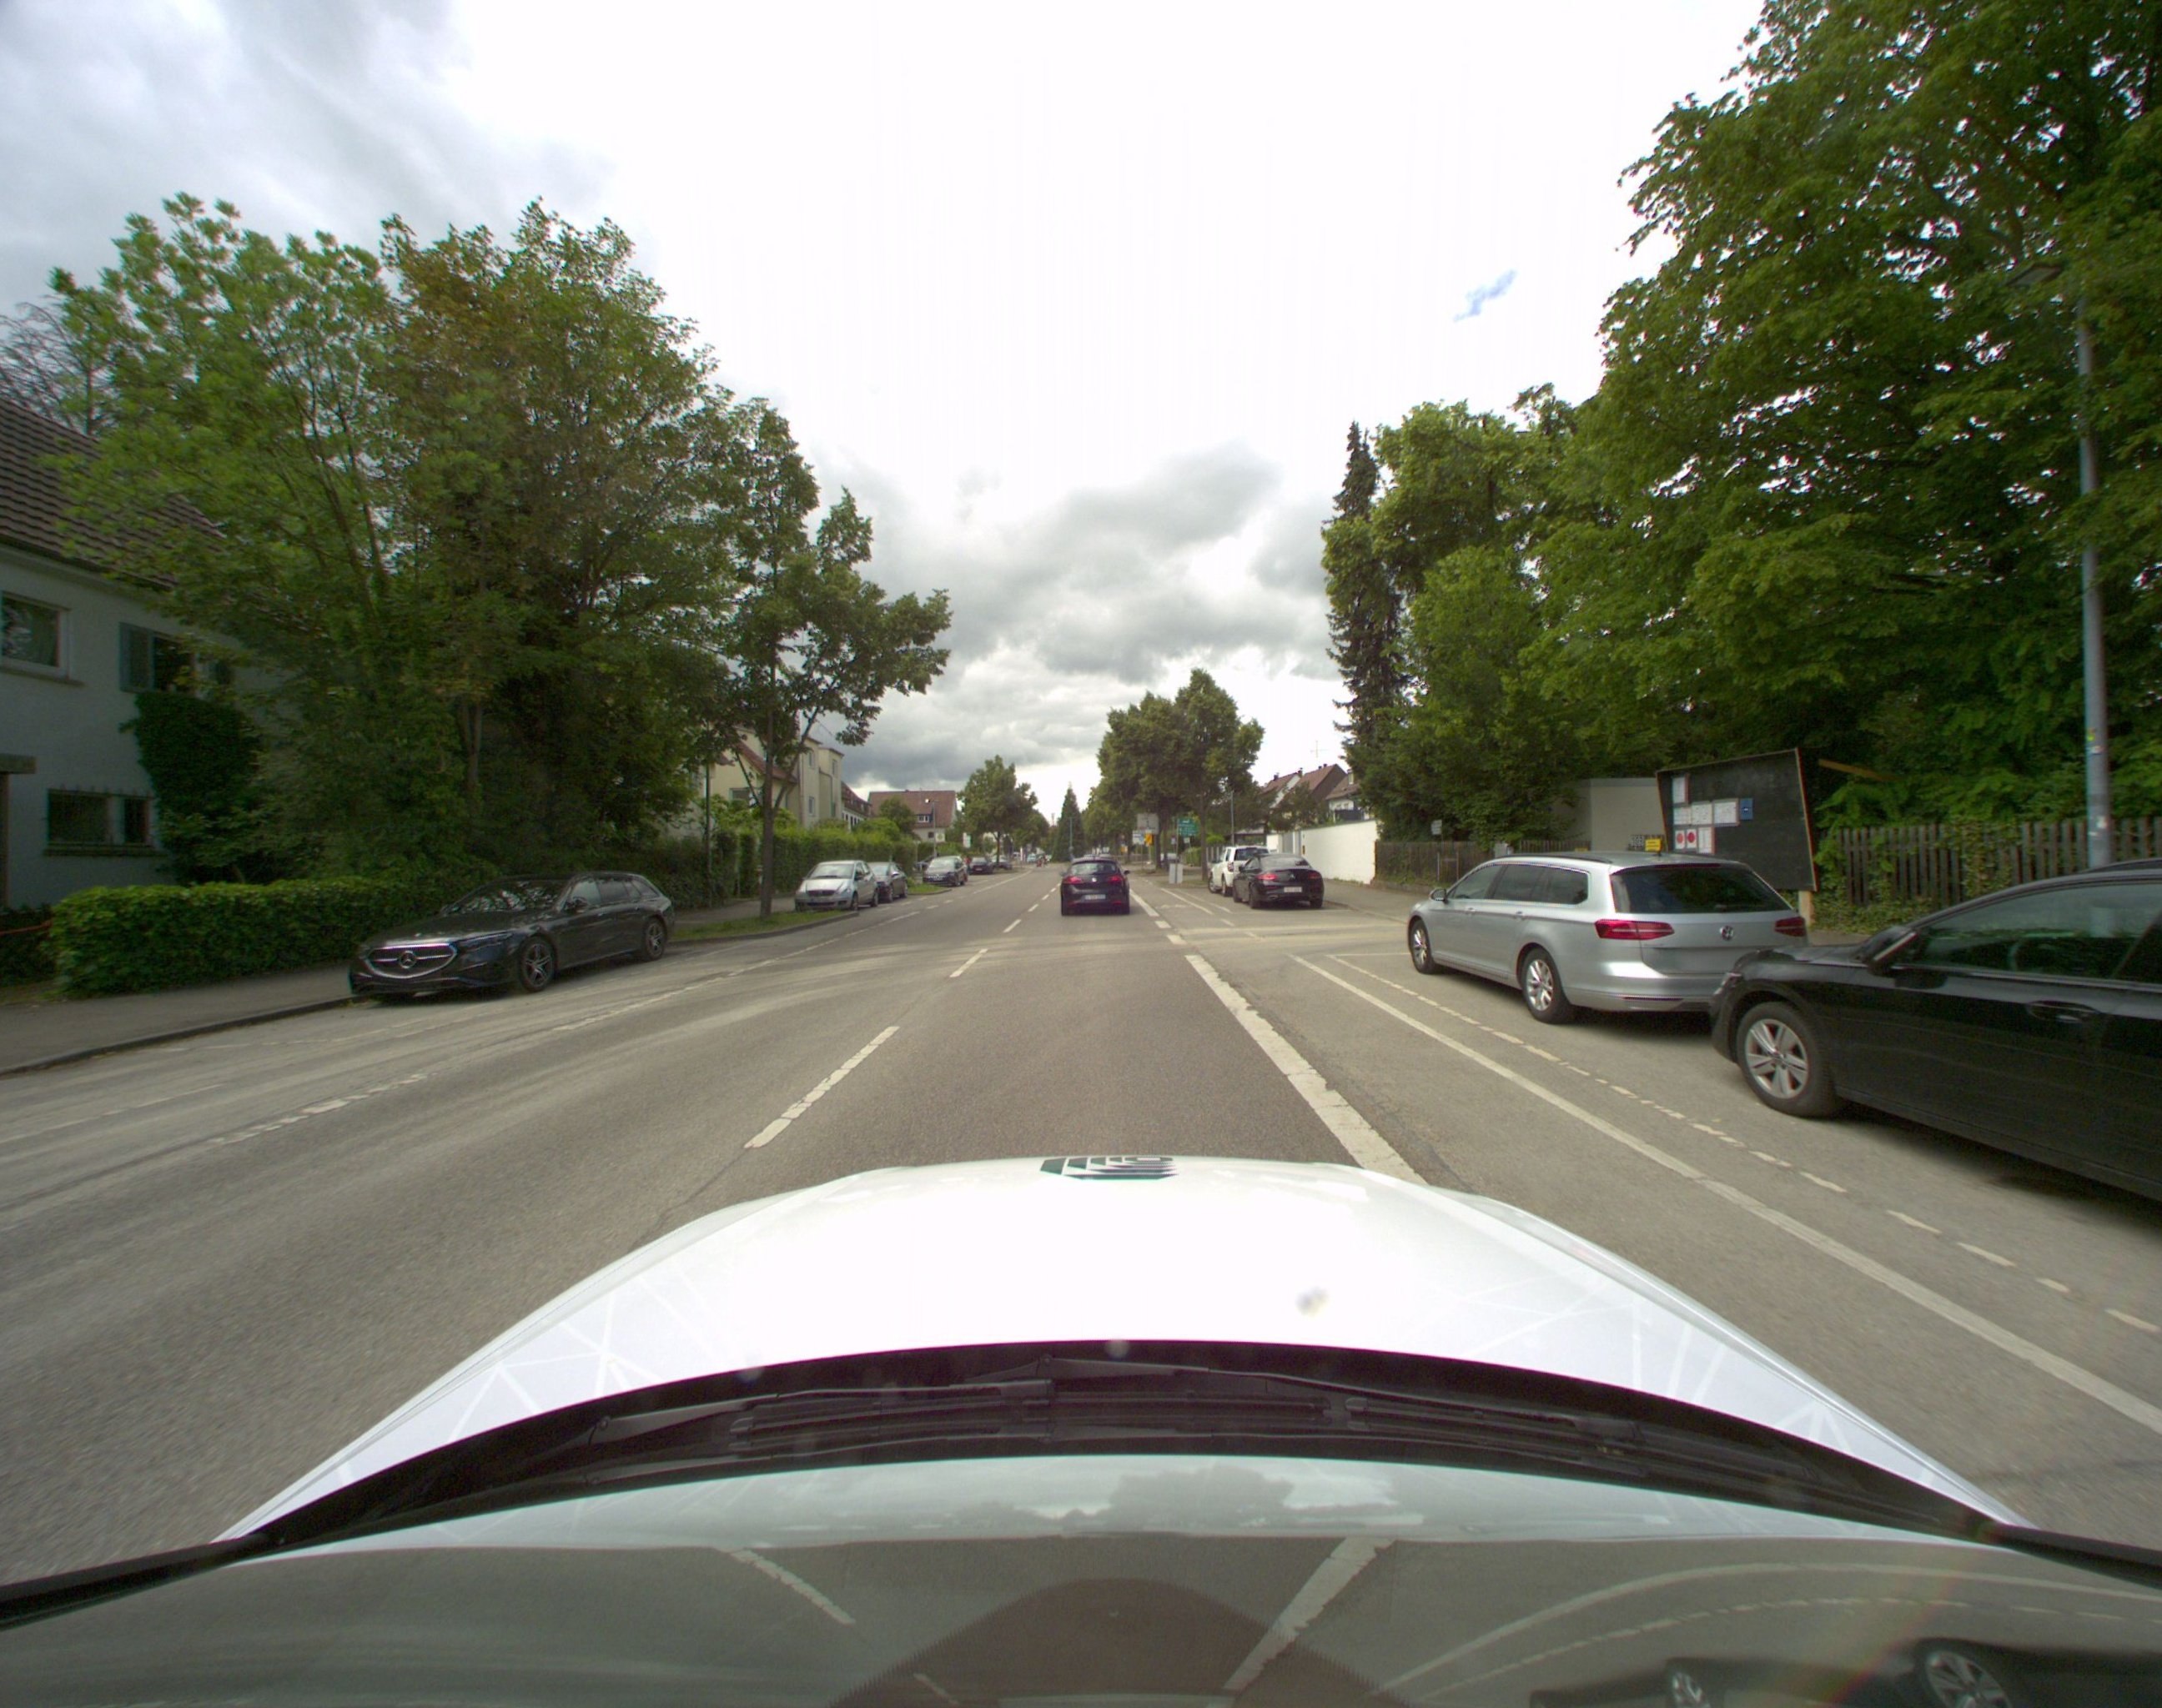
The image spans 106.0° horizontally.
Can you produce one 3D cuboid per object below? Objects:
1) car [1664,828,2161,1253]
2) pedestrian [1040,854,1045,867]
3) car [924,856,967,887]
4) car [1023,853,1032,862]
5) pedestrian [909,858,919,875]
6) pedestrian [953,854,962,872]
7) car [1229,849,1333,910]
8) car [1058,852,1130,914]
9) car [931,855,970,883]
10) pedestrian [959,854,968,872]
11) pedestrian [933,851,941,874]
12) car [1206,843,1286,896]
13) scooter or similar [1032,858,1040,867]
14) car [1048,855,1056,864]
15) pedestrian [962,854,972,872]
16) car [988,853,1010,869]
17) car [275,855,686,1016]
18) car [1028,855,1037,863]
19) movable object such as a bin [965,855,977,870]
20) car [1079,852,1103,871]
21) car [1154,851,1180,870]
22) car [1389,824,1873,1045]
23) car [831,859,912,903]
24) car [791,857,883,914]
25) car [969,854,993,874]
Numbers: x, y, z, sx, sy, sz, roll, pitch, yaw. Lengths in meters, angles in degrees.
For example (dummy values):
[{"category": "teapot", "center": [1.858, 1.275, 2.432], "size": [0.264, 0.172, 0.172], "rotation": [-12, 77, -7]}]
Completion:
[{"category": "car", "center": [4.697, 0.657, 3.217], "size": [1.695, 1.510, 4.540], "rotation": [0, 0, 2]}, {"category": "pedestrian", "center": [-4.942, 0.779, 104.069], "size": [0.514, 1.669, 0.481], "rotation": [-1, 0, -9]}, {"category": "car", "center": [-7.265, 0.909, 43.910], "size": [1.672, 1.552, 4.270], "rotation": [-2, 0, -1]}, {"category": "car", "center": [-12.150, 0.879, 184.689], "size": [2.025, 1.970, 3.996], "rotation": [-2, 0, -3]}, {"category": "pedestrian", "center": [-13.598, 1.000, 66.355], "size": [0.585, 1.313, 0.706], "rotation": [-2, 0, 1]}, {"category": "pedestrian", "center": [-11.495, 0.830, 75.712], "size": [0.786, 1.663, 0.879], "rotation": [-2, 0, -7]}, {"category": "car", "center": [5.237, 0.607, 21.956], "size": [1.856, 1.417, 4.605], "rotation": [-1, 0, 3]}, {"category": "car", "center": [0.407, 0.709, 21.671], "size": [1.725, 1.486, 4.003], "rotation": [-1, 0, 3]}, {"category": "car", "center": [-8.153, 0.892, 51.262], "size": [1.816, 1.634, 4.581], "rotation": [-2, 0, -3]}, {"category": "pedestrian", "center": [-11.087, 0.833, 76.782], "size": [0.786, 1.663, 0.590], "rotation": [-2, 0, -7]}, {"category": "pedestrian", "center": [-11.768, 0.702, 66.419], "size": [0.502, 1.806, 0.671], "rotation": [-2, 0, 0]}, {"category": "car", "center": [5.581, 0.499, 28.058], "size": [1.894, 1.642, 4.116], "rotation": [-2, 0, 0]}, {"category": "scooter or similar", "center": [-5.695, 1.052, 103.887], "size": [0.966, 1.095, 0.406], "rotation": [1, -1, -9]}, {"category": "car", "center": [-5.855, 1.081, 164.883], "size": [1.563, 1.634, 3.621], "rotation": [-2, 0, 0]}, {"category": "pedestrian", "center": [-10.627, 0.847, 75.925], "size": [0.786, 1.663, 0.752], "rotation": [-1, 0, -7]}, {"category": "car", "center": [-8.939, 0.791, 88.847], "size": [1.854, 1.653, 4.294], "rotation": [-1, 0, 1]}, {"category": "car", "center": [-7.840, 0.902, 11.502], "size": [2.089, 1.647, 5.035], "rotation": [-2, 0, -2]}, {"category": "car", "center": [-9.910, 0.986, 166.722], "size": [1.792, 1.601, 3.998], "rotation": [-2, 0, -1]}, {"category": "movable object such as a bin", "center": [-12.410, 0.941, 91.723], "size": [1.202, 1.651, 0.997], "rotation": [1, -1, -3]}, {"category": "car", "center": [0.908, 0.631, 72.551], "size": [1.986, 1.613, 4.001], "rotation": [-1, 0, 1]}, {"category": "car", "center": [6.781, 0.554, 64.858], "size": [1.606, 1.377, 4.386], "rotation": [-2, -1, 0]}, {"category": "car", "center": [4.921, 0.605, 8.318], "size": [1.855, 1.611, 4.687], "rotation": [0, 0, 1]}, {"category": "car", "center": [-7.973, 0.968, 31.423], "size": [1.989, 1.485, 4.885], "rotation": [-2, 0, -3]}, {"category": "car", "center": [-7.645, 0.928, 25.860], "size": [1.713, 1.613, 3.909], "rotation": [-2, 0, 0]}, {"category": "car", "center": [-8.901, 0.891, 72.853], "size": [1.719, 1.725, 4.561], "rotation": [-1, 0, -2]}]
